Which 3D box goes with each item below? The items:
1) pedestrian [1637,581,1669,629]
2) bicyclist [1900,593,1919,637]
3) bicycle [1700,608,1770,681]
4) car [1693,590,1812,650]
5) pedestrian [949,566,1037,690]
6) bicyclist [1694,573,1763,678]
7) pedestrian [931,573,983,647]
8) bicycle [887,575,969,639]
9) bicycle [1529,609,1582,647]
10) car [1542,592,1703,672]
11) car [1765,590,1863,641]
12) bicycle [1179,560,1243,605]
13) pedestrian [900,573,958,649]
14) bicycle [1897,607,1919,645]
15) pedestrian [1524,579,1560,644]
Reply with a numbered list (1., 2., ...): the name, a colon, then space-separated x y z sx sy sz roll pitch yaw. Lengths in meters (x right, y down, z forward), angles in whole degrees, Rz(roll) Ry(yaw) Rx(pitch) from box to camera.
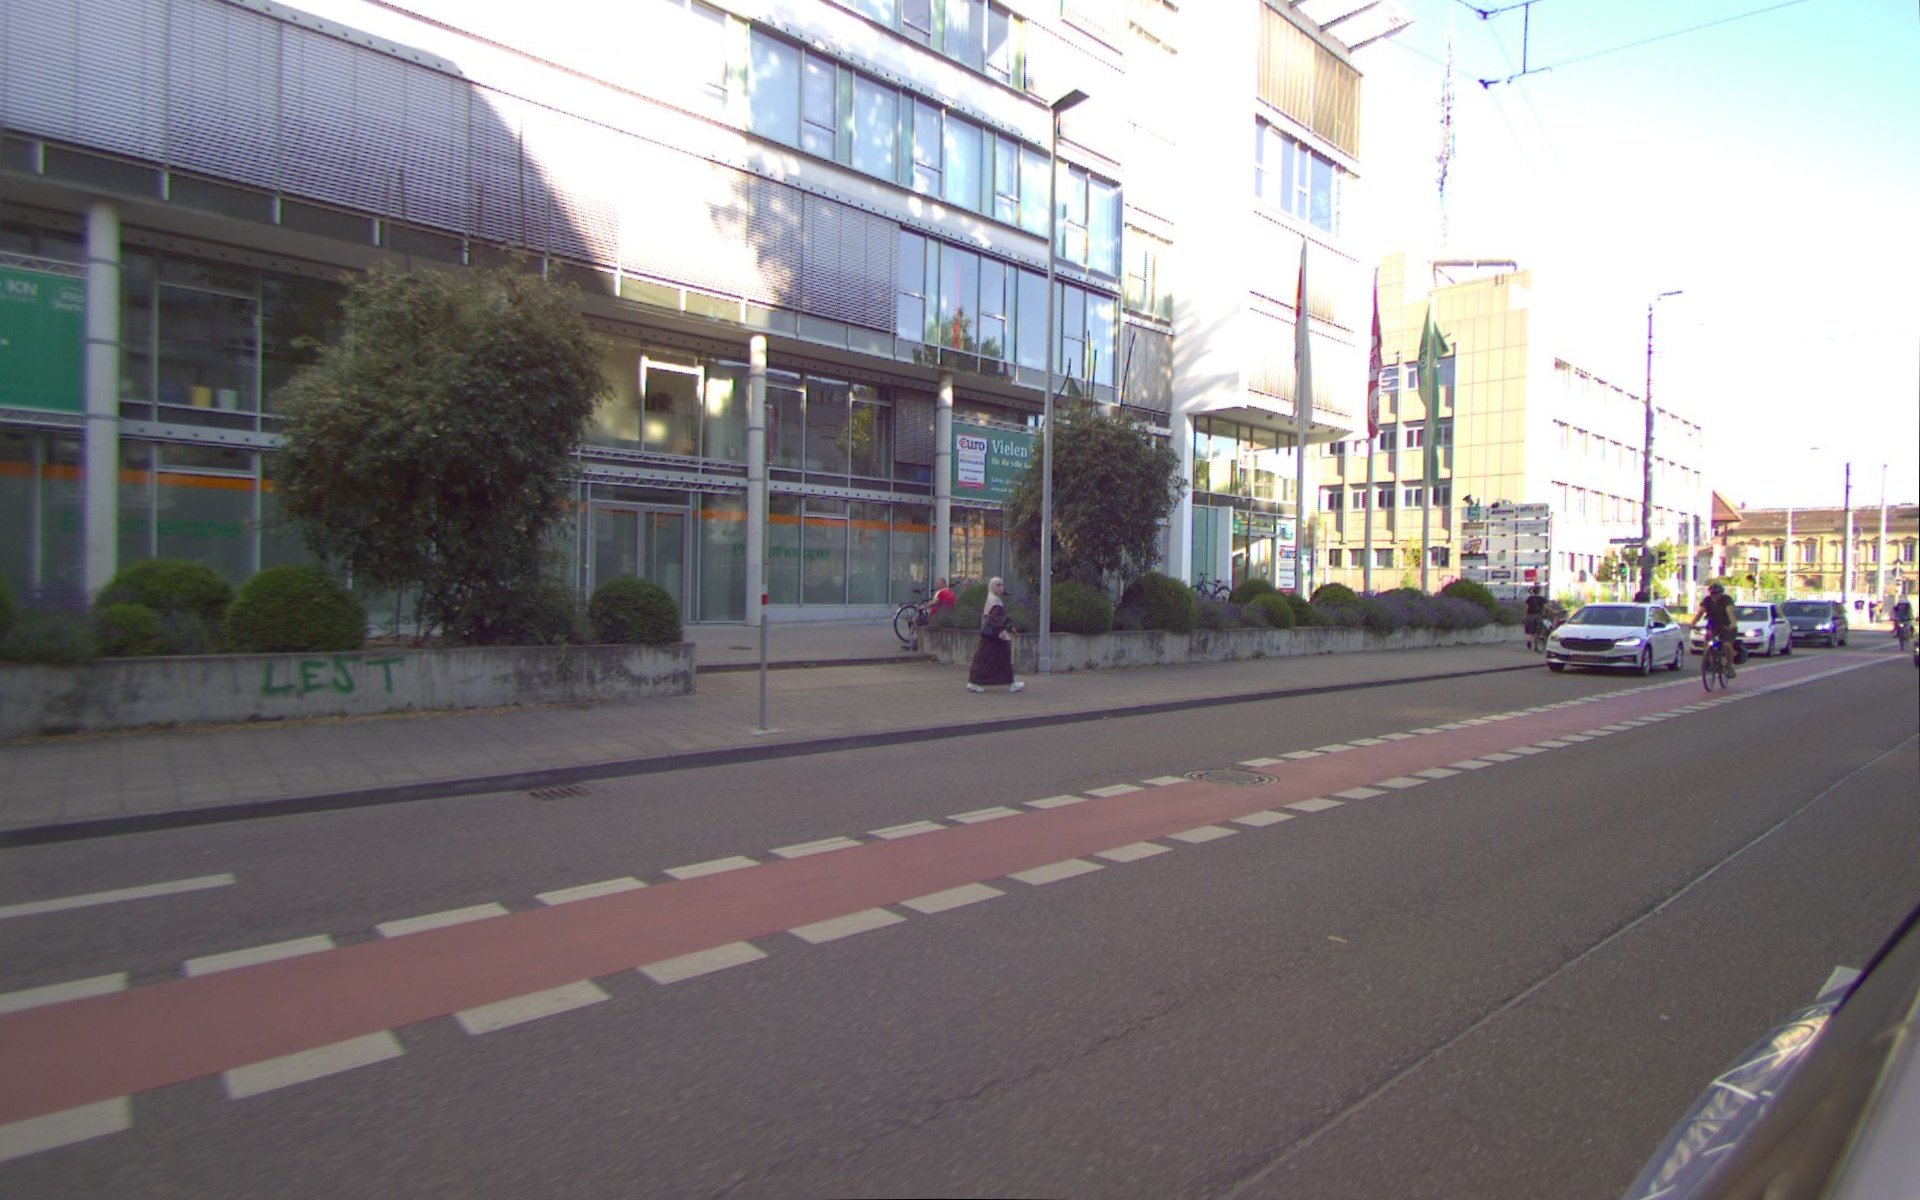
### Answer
1. pedestrian: 24.120 0.167 35.241 0.652 1.601 0.693 0 3 -40
2. bicyclist: 30.422 0.472 32.163 0.852 1.397 0.684 0 1 -41
3. bicycle: 13.085 0.721 17.065 2.090 1.135 0.550 0 2 -43
4. car: 21.577 0.495 27.511 3.798 1.482 1.672 0 2 -38
5. pedestrian: 0.446 0.354 13.628 0.895 1.594 0.753 0 1 -38
6. bicyclist: 12.948 0.408 17.056 0.702 1.709 0.752 1 1 -40
7. pedestrian: -0.055 0.170 18.149 0.535 1.288 0.783 0 1 -45
8. bicycle: -0.595 0.126 19.304 1.583 1.176 0.534 0 1 -41
9. bicycle: 15.016 0.690 25.503 1.869 0.856 0.499 0 5 -40
10. car: 13.799 0.594 21.003 3.952 1.437 1.784 0 2 -41
11. car: 29.574 0.482 35.015 3.930 1.616 1.997 0 1 -41
12. bicycle: 8.391 -0.587 33.970 0.741 1.445 2.435 1 1 -23
13. pedestrian: -0.541 0.180 17.641 0.682 1.288 0.750 0 1 -45
14. bicycle: 30.445 0.814 32.230 1.841 1.138 0.666 0 1 -41
15. pedestrian: 14.850 0.293 25.826 0.579 1.601 0.527 0 3 -40
